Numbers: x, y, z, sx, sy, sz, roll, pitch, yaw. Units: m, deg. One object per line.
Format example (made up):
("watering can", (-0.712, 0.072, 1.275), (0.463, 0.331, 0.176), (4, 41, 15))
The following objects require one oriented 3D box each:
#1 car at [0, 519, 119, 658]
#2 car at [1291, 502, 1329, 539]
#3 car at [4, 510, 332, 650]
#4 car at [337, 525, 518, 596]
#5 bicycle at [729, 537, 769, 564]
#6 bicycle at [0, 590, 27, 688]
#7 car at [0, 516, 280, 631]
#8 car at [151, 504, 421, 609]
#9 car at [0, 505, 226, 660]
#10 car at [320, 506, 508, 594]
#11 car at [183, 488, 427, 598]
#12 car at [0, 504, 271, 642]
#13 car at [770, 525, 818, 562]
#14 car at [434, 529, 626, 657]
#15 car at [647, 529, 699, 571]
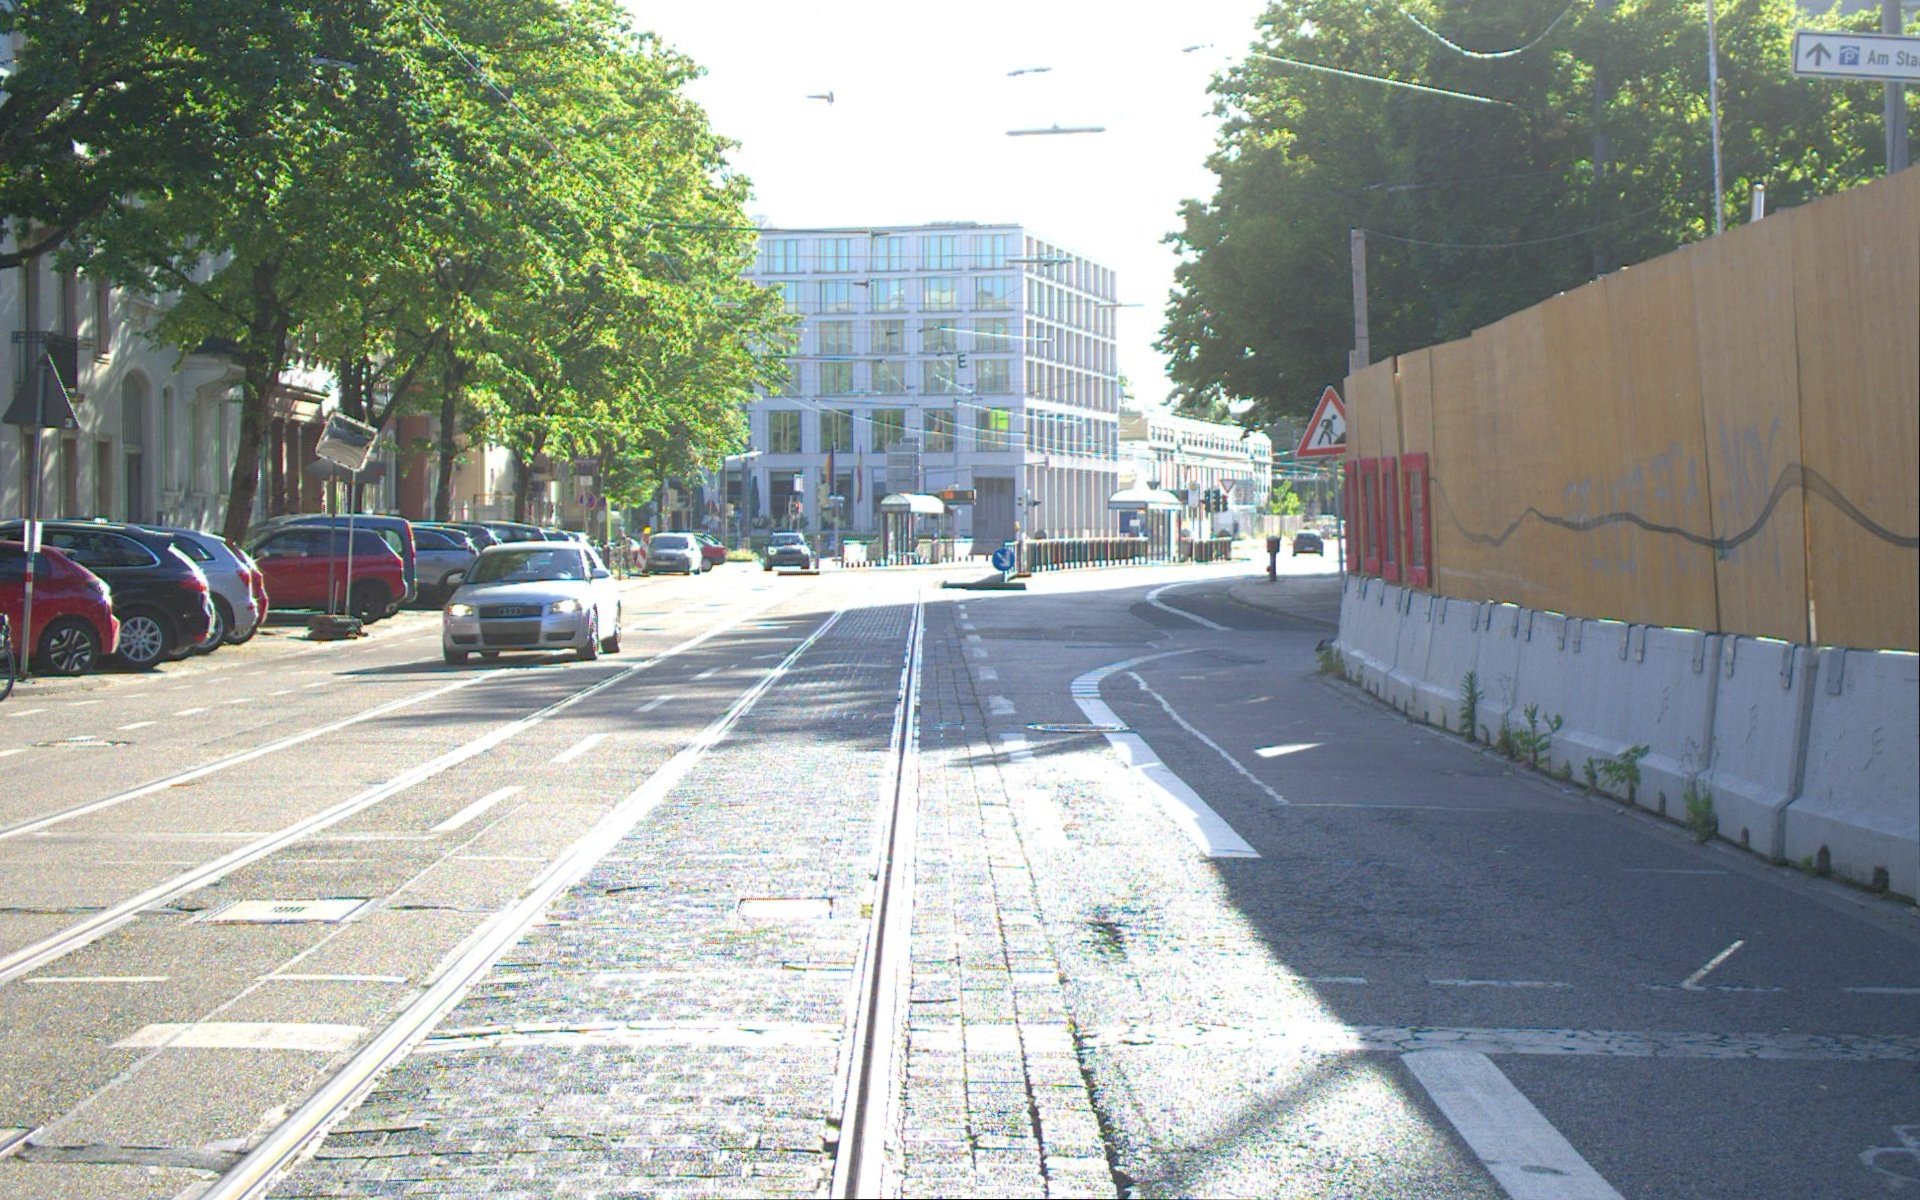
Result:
("car", (-11.026, -0.146, 36.134), (3.901, 1.448, 1.638), (1, 0, -34))
("car", (19.424, -4.411, 190.722), (1.994, 2.007, 3.999), (0, 1, 7))
("car", (-9.762, -0.279, 42.434), (3.555, 1.656, 1.738), (-1, 1, -33))
("car", (-10.858, -0.817, 70.158), (3.372, 1.415, 1.405), (0, 1, -28))
("bicycle", (-9.701, -2.290, 158.037), (1.793, 1.219, 0.599), (0, 1, -8))
("bicycle", (-9.171, 0.373, 30.651), (0.450, 0.878, 1.898), (0, 2, 28))
("car", (-11.443, -0.387, 47.618), (3.674, 1.522, 1.483), (-1, 2, -35))
("car", (-11.275, -0.736, 57.572), (4.159, 1.715, 1.584), (0, 1, -27))
("car", (-10.420, -0.219, 39.158), (3.674, 1.715, 1.611), (-1, 2, -35))
("car", (-10.707, -0.990, 67.425), (3.372, 1.692, 1.405), (0, 1, -28))
("car", (-11.546, -0.993, 60.636), (3.828, 1.826, 1.732), (1, 1, -30))
("car", (-11.013, -0.383, 44.704), (3.674, 1.715, 1.611), (-1, 2, -35))
("car", (-6.935, -2.354, 143.775), (1.558, 1.525, 4.000), (0, 1, 4))
("car", (-5.105, -0.121, 41.287), (1.709, 1.431, 4.171), (0, 1, 1))
("car", (-10.335, -1.824, 123.934), (1.573, 1.485, 4.000), (0, 1, 0))
